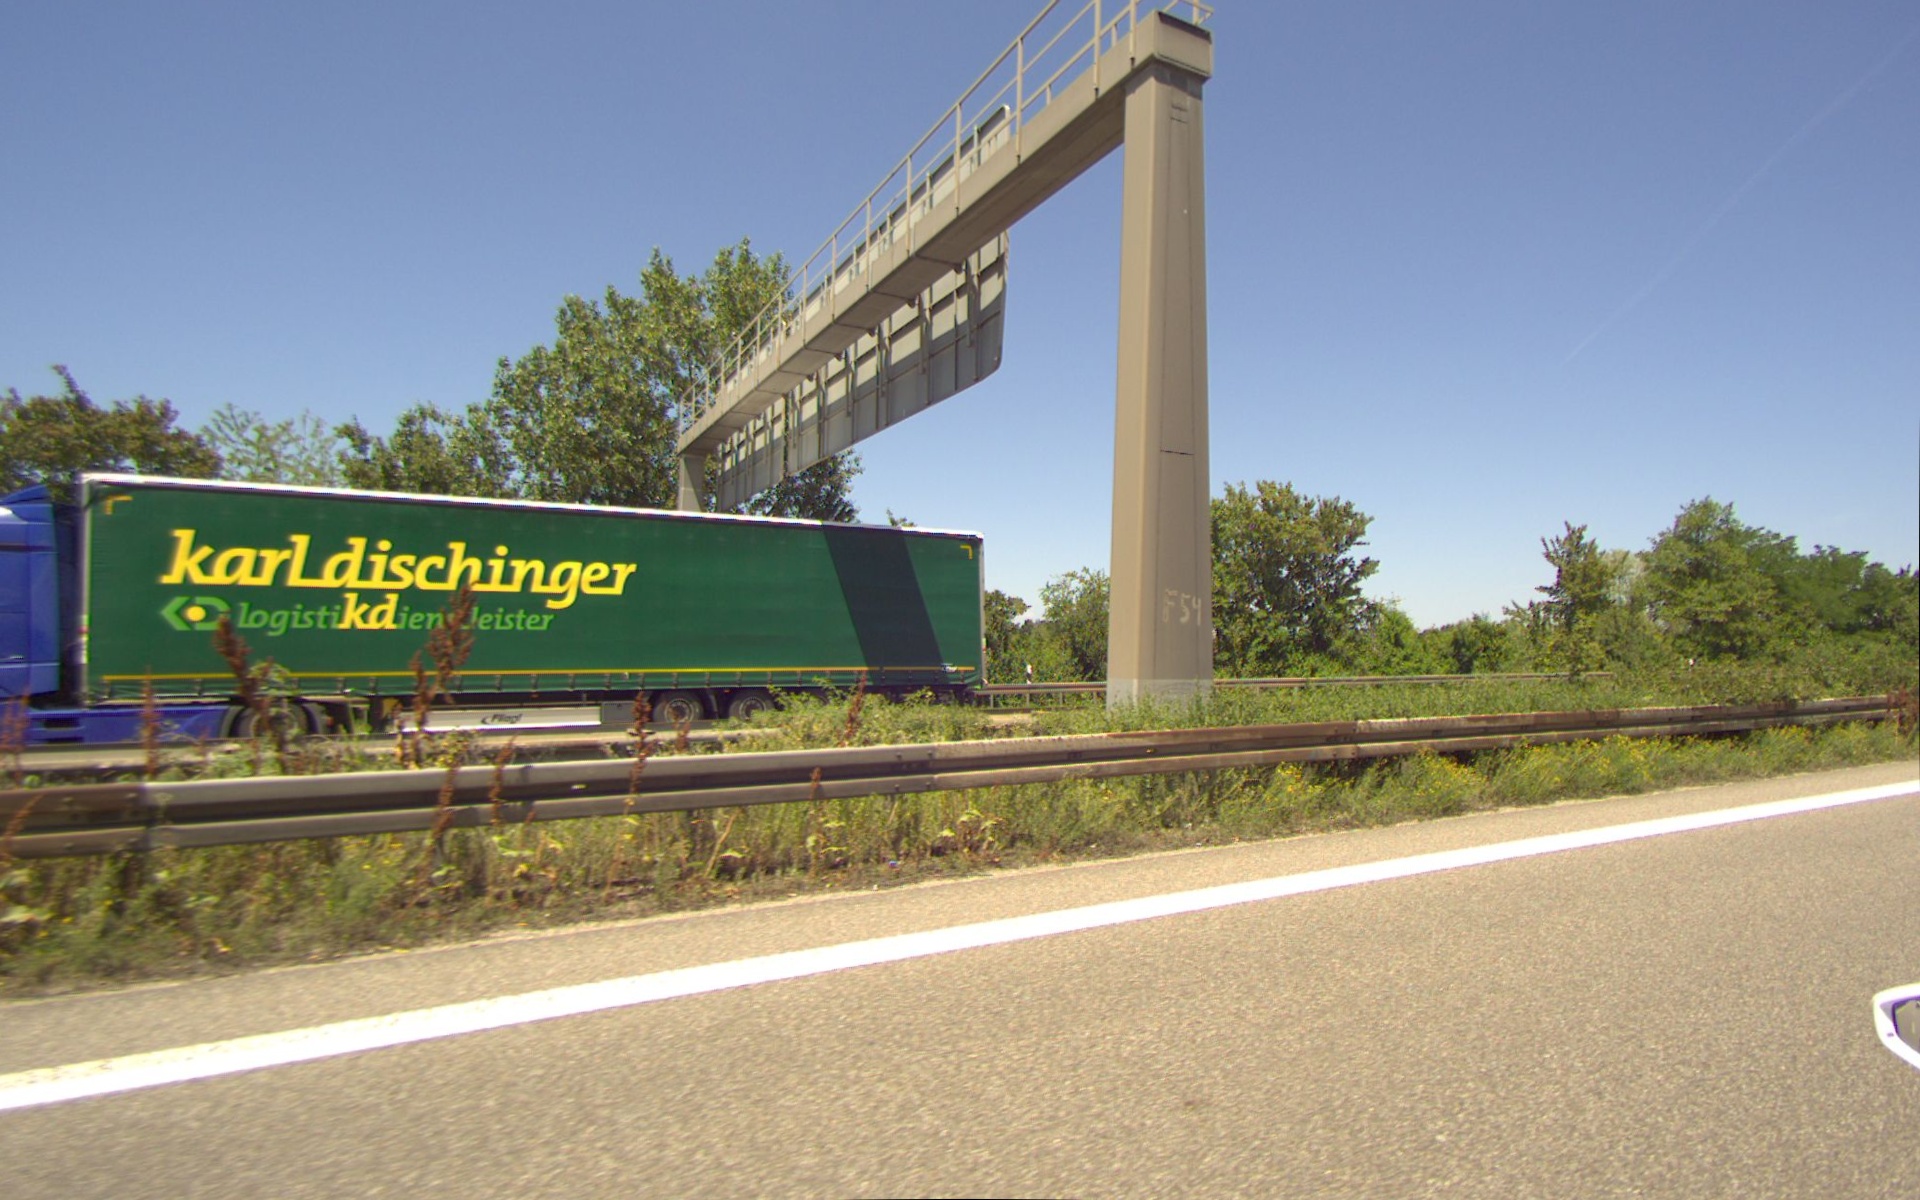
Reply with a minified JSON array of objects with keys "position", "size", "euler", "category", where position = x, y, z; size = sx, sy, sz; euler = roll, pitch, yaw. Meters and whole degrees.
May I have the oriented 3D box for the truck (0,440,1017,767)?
[{"position":[-7.295,0.299,18.449],"size":[18.024,4.398,2.942],"euler":[2,-3,-30],"category":"truck"}]
